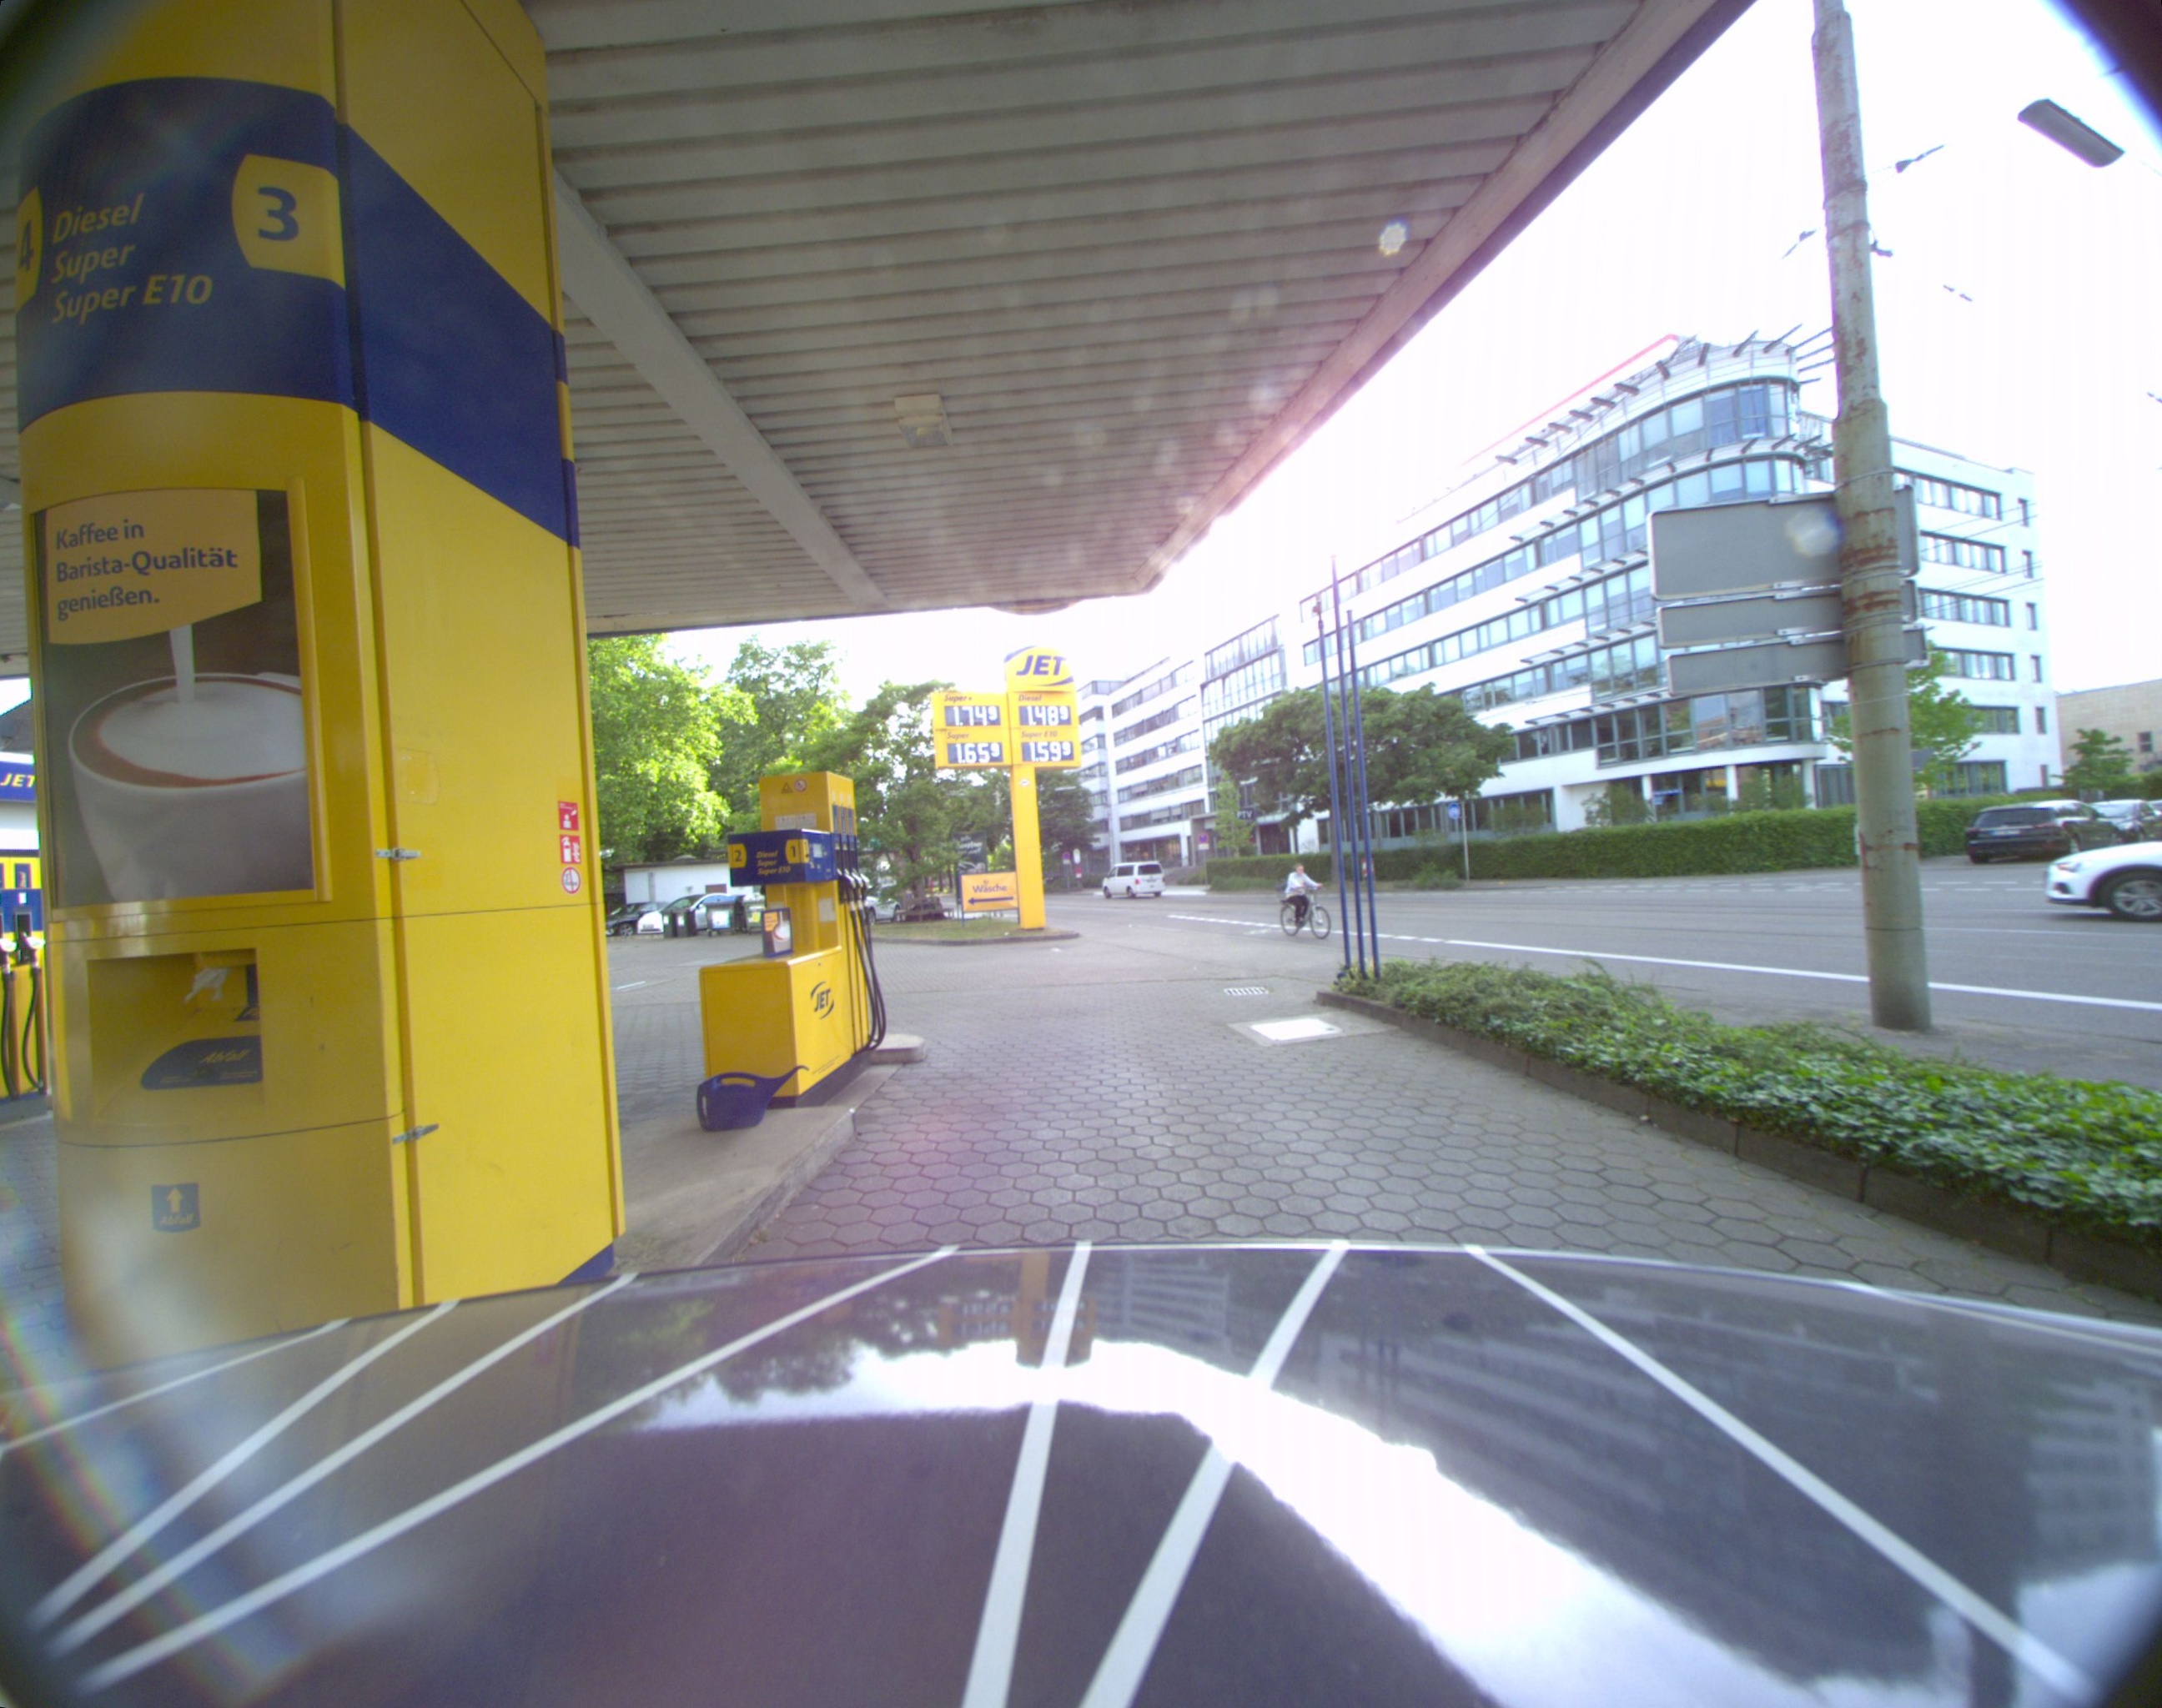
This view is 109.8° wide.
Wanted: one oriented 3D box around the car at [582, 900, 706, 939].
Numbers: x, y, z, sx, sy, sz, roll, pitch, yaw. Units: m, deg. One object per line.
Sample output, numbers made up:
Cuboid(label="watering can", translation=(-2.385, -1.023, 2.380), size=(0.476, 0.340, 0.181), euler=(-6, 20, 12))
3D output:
Cuboid(label="car", translation=(-17.749, 2.630, 31.074), size=(1.745, 1.269, 4.230), euler=(-5, -3, 19))

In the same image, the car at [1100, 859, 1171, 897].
Cuboid(label="car", translation=(3.046, 1.392, 43.738), size=(2.002, 1.956, 4.882), euler=(-3, -1, -22))

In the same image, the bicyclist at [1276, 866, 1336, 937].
Cuboid(label="bicyclist", translation=(4.966, 1.031, 16.812), size=(0.736, 1.451, 0.915), euler=(-6, 0, -20))

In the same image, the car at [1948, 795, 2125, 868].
Cuboid(label="car", translation=(27.373, -0.642, 21.771), size=(4.438, 1.603, 1.976), euler=(-5, -1, -23))

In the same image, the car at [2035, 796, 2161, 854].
Cuboid(label="car", translation=(32.489, -0.933, 24.042), size=(4.109, 1.544, 1.786), euler=(-4, -1, -23))

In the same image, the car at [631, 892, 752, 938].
Cuboid(label="car", translation=(-15.363, 2.382, 30.258), size=(1.785, 1.514, 4.229), euler=(-4, -3, 17))

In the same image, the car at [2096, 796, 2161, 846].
Cuboid(label="car", translation=(37.149, -1.226, 26.080), size=(4.109, 1.544, 1.786), euler=(-4, -1, -23))

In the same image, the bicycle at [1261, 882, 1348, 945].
Cuboid(label="bicycle", translation=(4.940, 1.285, 16.930), size=(0.736, 1.250, 1.936), euler=(-6, 0, -20))

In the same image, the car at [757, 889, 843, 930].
Cuboid(label="car", translation=(-11.805, 2.322, 32.246), size=(1.739, 1.500, 4.004), euler=(-4, -2, 6))

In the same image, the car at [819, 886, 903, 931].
Cuboid(label="car", translation=(-8.689, 2.116, 30.384), size=(1.739, 1.500, 4.003), euler=(-4, -2, 6))

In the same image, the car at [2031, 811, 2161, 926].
Cuboid(label="car", translation=(16.074, 0.111, 9.910), size=(1.844, 1.566, 4.372), euler=(-2, -2, -33))
